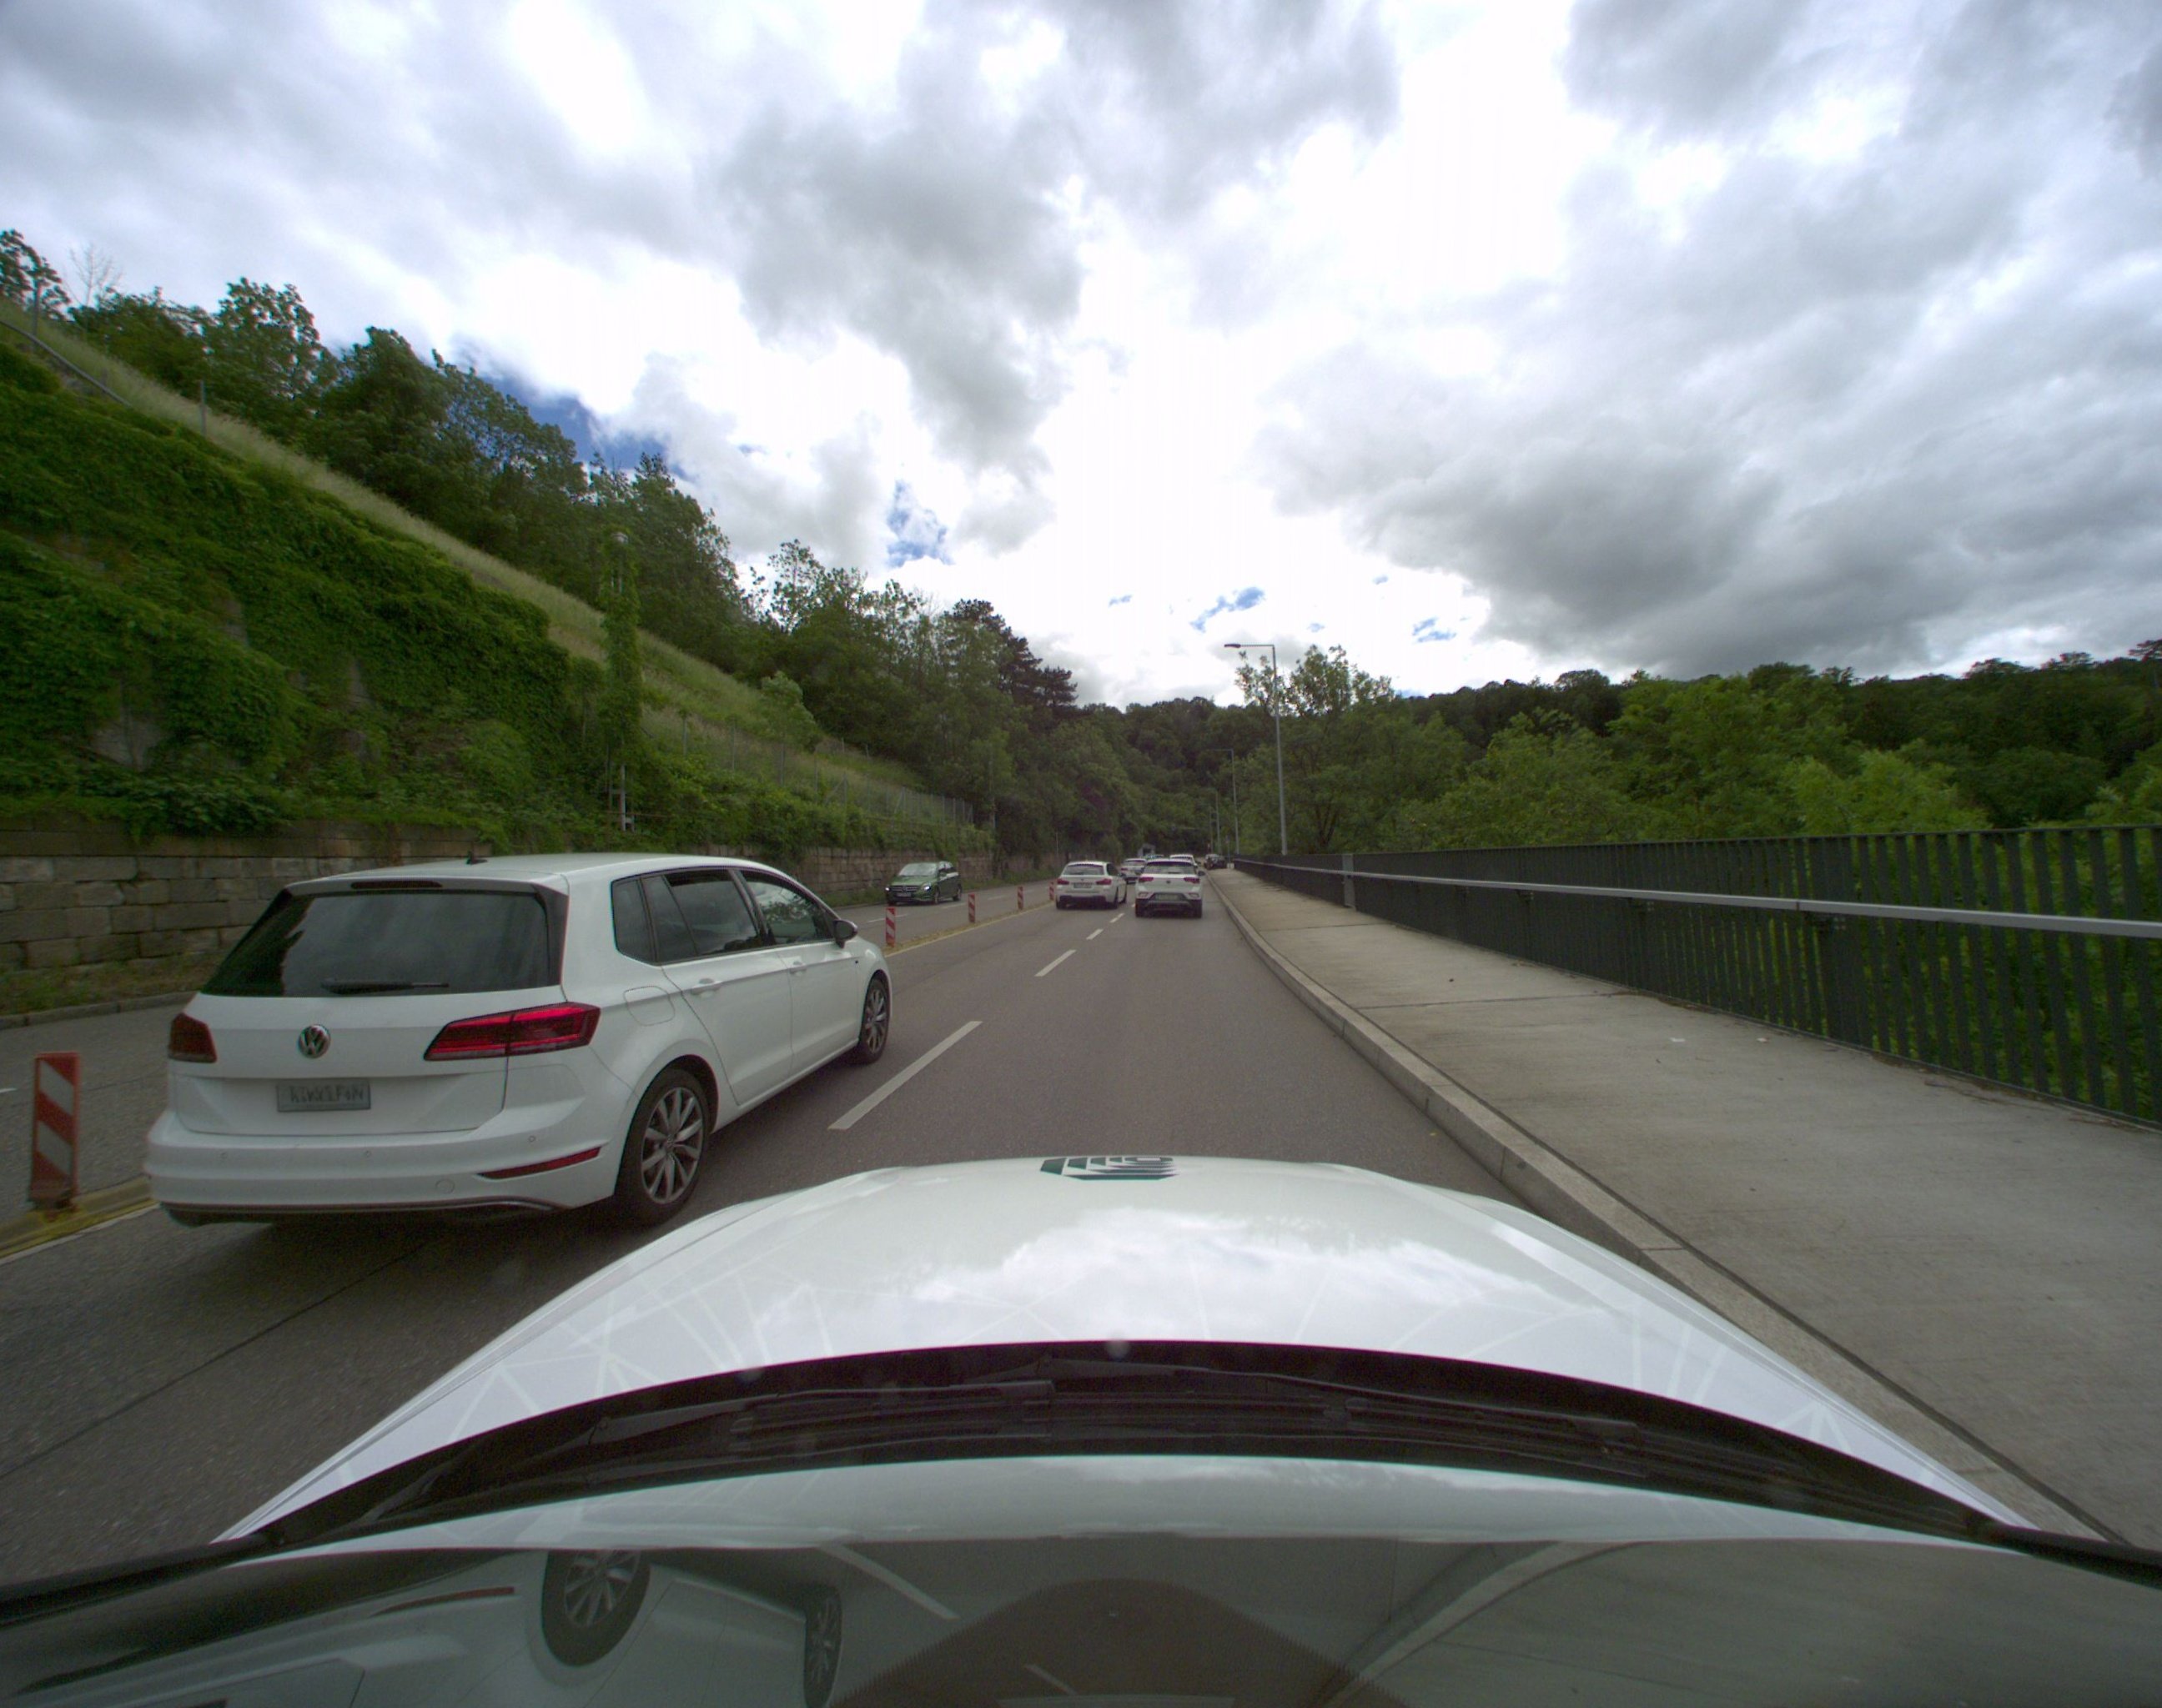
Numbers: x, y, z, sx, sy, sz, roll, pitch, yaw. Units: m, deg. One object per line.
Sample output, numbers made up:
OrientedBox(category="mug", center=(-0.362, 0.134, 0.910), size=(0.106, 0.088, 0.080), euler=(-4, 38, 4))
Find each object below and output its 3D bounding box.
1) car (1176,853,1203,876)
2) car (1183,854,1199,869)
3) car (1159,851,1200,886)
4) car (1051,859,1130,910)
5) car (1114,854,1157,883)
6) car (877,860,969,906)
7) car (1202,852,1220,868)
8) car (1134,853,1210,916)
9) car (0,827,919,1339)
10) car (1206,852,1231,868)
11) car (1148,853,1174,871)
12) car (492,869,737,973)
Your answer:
OrientedBox(category="car", center=(8.421, 0.786, 63.480), size=(1.983, 1.717, 4.006), euler=(0, -1, 6))
OrientedBox(category="car", center=(14.464, 0.981, 107.559), size=(1.983, 1.860, 4.007), euler=(0, -1, 6))
OrientedBox(category="car", center=(5.222, 0.724, 42.830), size=(1.982, 1.718, 4.124), euler=(0, 1, 9))
OrientedBox(category="car", center=(0.417, 0.892, 25.951), size=(1.817, 1.459, 4.498), euler=(0, 0, 10))
OrientedBox(category="car", center=(3.198, 0.782, 47.147), size=(1.982, 1.503, 4.680), euler=(1, 1, 9))
OrientedBox(category="car", center=(-5.707, 1.016, 29.998), size=(1.839, 1.515, 4.345), euler=(-1, 0, 10))
OrientedBox(category="car", center=(15.231, 0.665, 95.391), size=(1.982, 1.718, 4.124), euler=(-1, 1, 8))
OrientedBox(category="car", center=(2.621, 0.813, 22.705), size=(1.816, 1.606, 4.011), euler=(0, -1, 10))
OrientedBox(category="car", center=(-2.462, 0.749, 4.763), size=(1.812, 1.580, 4.361), euler=(-1, -1, 5))
OrientedBox(category="car", center=(13.090, 0.553, 77.601), size=(1.808, 1.508, 4.001), euler=(-1, 0, 2))
OrientedBox(category="car", center=(7.448, 0.683, 75.554), size=(1.981, 1.503, 4.680), euler=(-2, 1, 10))
OrientedBox(category="car", center=(-7.590, 0.999, 13.767), size=(1.700, 1.442, 4.002), euler=(0, 0, 2))
